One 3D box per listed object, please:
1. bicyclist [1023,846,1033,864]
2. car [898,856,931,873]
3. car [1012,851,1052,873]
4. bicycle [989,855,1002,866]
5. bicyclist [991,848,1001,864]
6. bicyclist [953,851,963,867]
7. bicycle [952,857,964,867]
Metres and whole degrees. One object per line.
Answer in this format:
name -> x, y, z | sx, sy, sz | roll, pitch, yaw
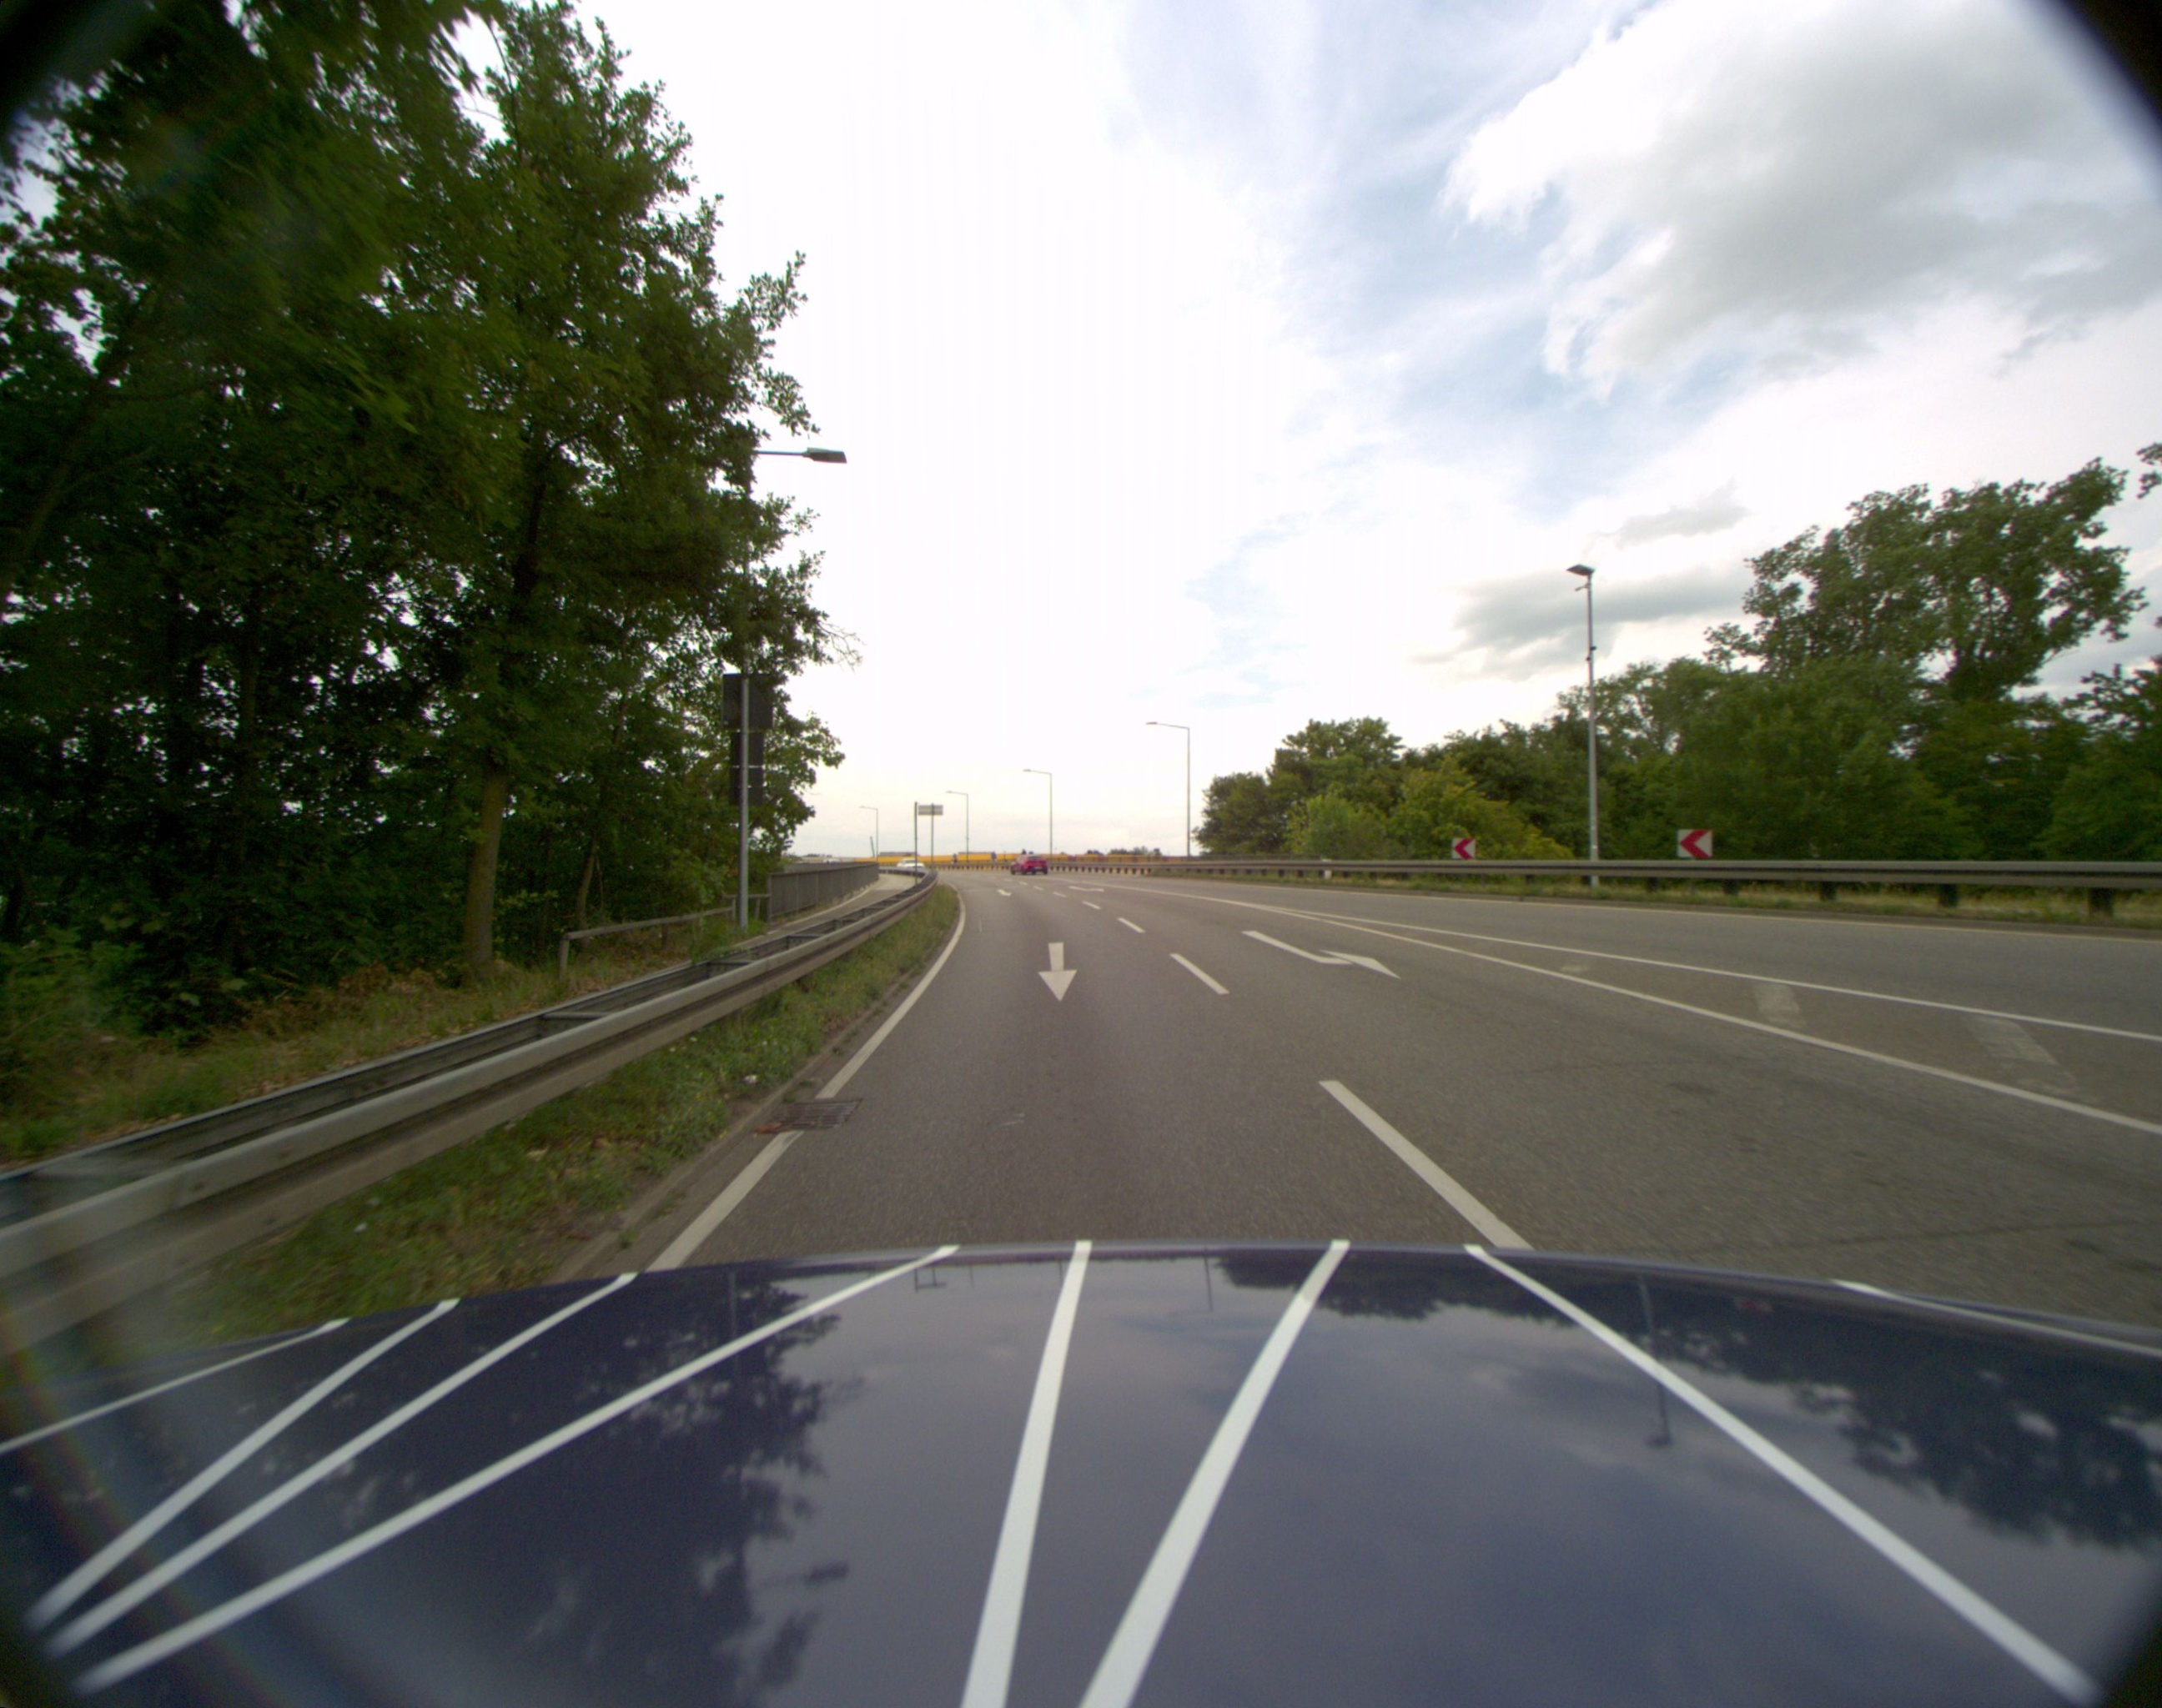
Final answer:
bicyclist -> -4.849, 0.113, 69.730 | 0.774, 1.622, 0.648 | -2, 2, -22
car -> -15.521, 0.931, 70.781 | 1.942, 1.448, 3.876 | 2, -1, -29
car -> -3.567, 0.550, 54.226 | 1.803, 1.463, 4.628 | -2, 0, -17
bicycle -> -8.334, 0.658, 74.004 | 0.495, 1.039, 1.805 | -2, 1, -35
bicyclist -> -8.268, 0.168, 73.982 | 0.613, 1.531, 0.755 | -2, 1, -35
bicyclist -> -13.935, 0.543, 86.172 | 0.853, 1.798, 0.794 | -2, 1, -33
bicycle -> -13.944, 0.908, 86.150 | 0.649, 1.061, 1.757 | -1, 0, -33
